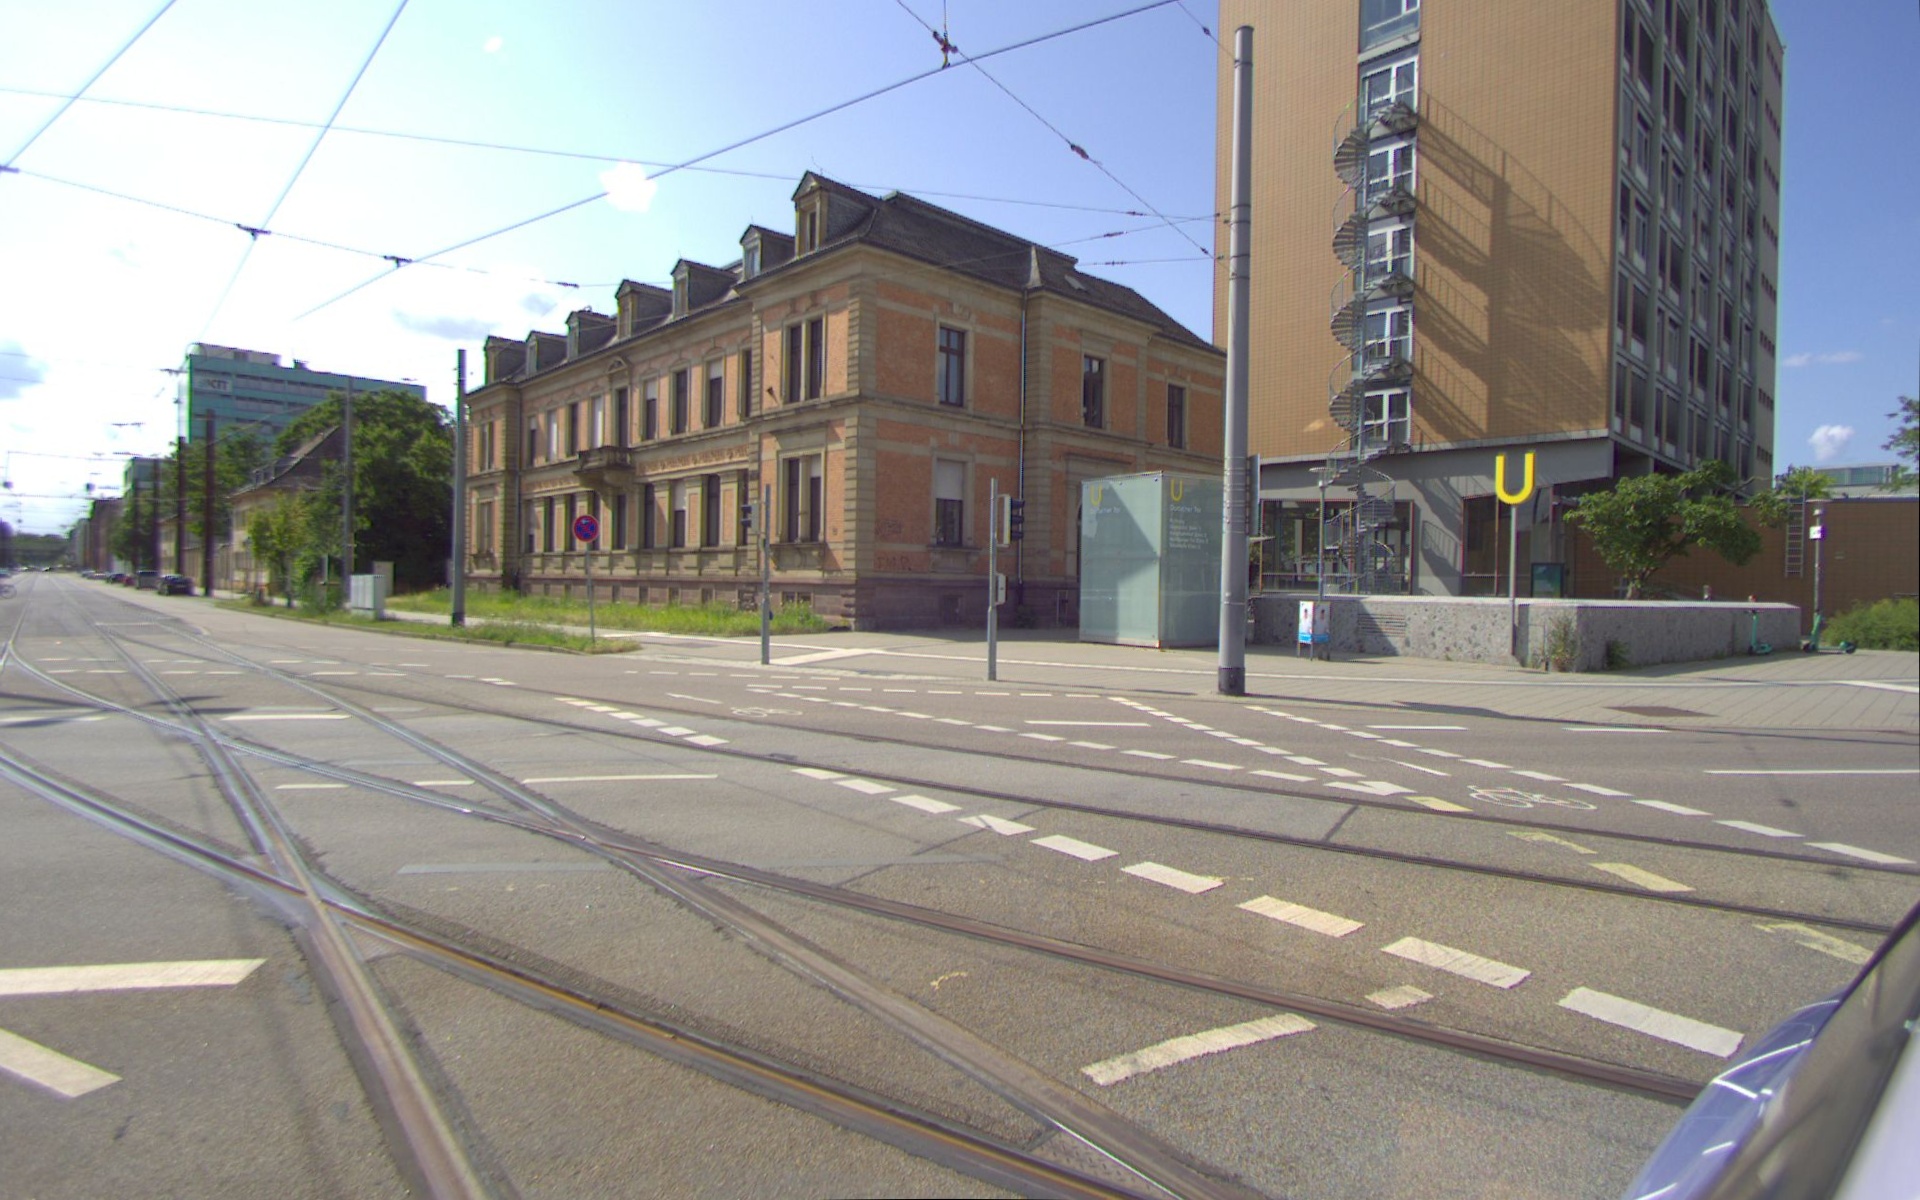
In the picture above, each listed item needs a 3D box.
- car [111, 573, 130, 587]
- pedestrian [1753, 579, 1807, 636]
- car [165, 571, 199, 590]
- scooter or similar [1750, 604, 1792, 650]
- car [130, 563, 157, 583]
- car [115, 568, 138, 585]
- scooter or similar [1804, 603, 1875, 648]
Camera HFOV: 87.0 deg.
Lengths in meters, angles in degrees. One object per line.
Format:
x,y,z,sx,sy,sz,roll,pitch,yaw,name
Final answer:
-111.475,-2.658,134.405,1.964,1.838,3.996,0,1,-40,car
24.761,0.202,30.579,1.087,1.642,0.609,3,4,30,pedestrian
-58.775,-1.504,76.510,1.963,1.393,3.999,0,1,-37,car
20.612,0.672,25.710,1.420,1.131,0.466,0,2,-38,scooter or similar
-79.469,-2.634,98.465,1.964,1.838,3.996,0,1,-40,car
-93.426,-2.620,113.498,1.964,1.838,3.996,0,1,-40,car
23.514,0.672,27.074,1.306,1.117,0.462,3,2,27,scooter or similar
